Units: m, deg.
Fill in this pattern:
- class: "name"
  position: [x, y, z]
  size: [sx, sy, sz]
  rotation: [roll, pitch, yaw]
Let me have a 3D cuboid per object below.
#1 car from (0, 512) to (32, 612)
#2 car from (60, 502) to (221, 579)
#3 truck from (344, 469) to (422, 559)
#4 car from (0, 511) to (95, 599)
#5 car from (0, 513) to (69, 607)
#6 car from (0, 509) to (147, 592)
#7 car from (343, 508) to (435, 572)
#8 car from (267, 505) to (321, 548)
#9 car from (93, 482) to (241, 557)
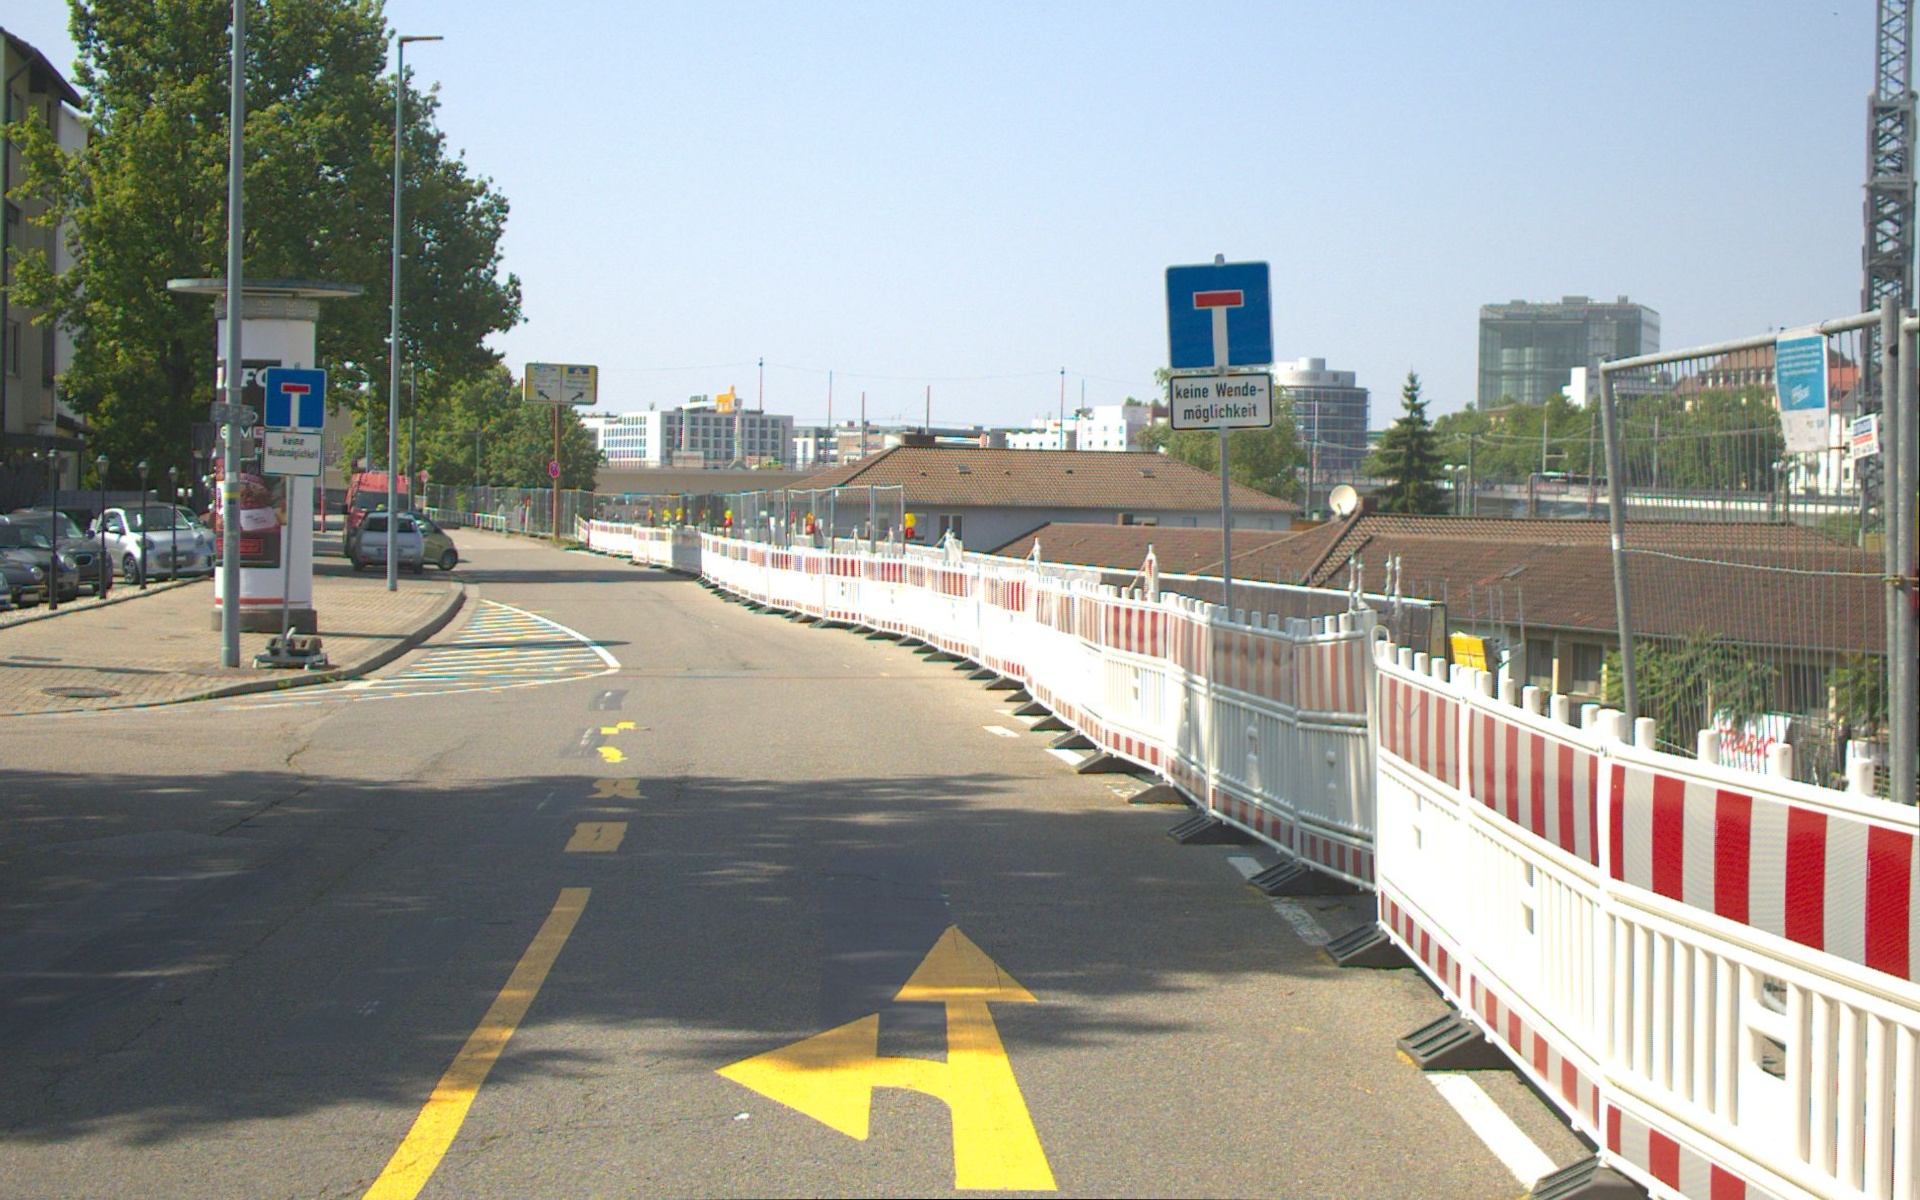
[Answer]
- class: "car"
  position: [-15.648, -0.557, 52.298]
  size: [1.780, 1.468, 4.000]
  rotation: [-3, 2, -32]
- class: "car"
  position: [-16.516, -1.205, 69.153]
  size: [1.776, 1.468, 4.000]
  rotation: [-3, 2, -35]
- class: "truck"
  position: [-17.430, -2.573, 104.108]
  size: [2.237, 2.639, 5.683]
  rotation: [1, 1, -9]
- class: "car"
  position: [-16.891, -0.805, 60.939]
  size: [1.667, 1.468, 4.000]
  rotation: [-3, 2, -35]
- class: "car"
  position: [-16.230, -0.659, 56.390]
  size: [1.667, 1.468, 3.999]
  rotation: [-3, 3, -37]
- class: "car"
  position: [-17.082, -0.949, 65.527]
  size: [1.667, 1.468, 4.000]
  rotation: [-3, 2, -35]
- class: "car"
  position: [-14.087, -1.499, 84.944]
  size: [1.869, 1.493, 4.032]
  rotation: [0, 2, -4]
- class: "car"
  position: [-31.025, -3.401, 160.242]
  size: [1.936, 1.828, 3.925]
  rotation: [4, 0, -5]
- class: "car"
  position: [-22.167, -2.258, 96.070]
  size: [3.921, 1.952, 1.760]
  rotation: [2, 1, -14]
